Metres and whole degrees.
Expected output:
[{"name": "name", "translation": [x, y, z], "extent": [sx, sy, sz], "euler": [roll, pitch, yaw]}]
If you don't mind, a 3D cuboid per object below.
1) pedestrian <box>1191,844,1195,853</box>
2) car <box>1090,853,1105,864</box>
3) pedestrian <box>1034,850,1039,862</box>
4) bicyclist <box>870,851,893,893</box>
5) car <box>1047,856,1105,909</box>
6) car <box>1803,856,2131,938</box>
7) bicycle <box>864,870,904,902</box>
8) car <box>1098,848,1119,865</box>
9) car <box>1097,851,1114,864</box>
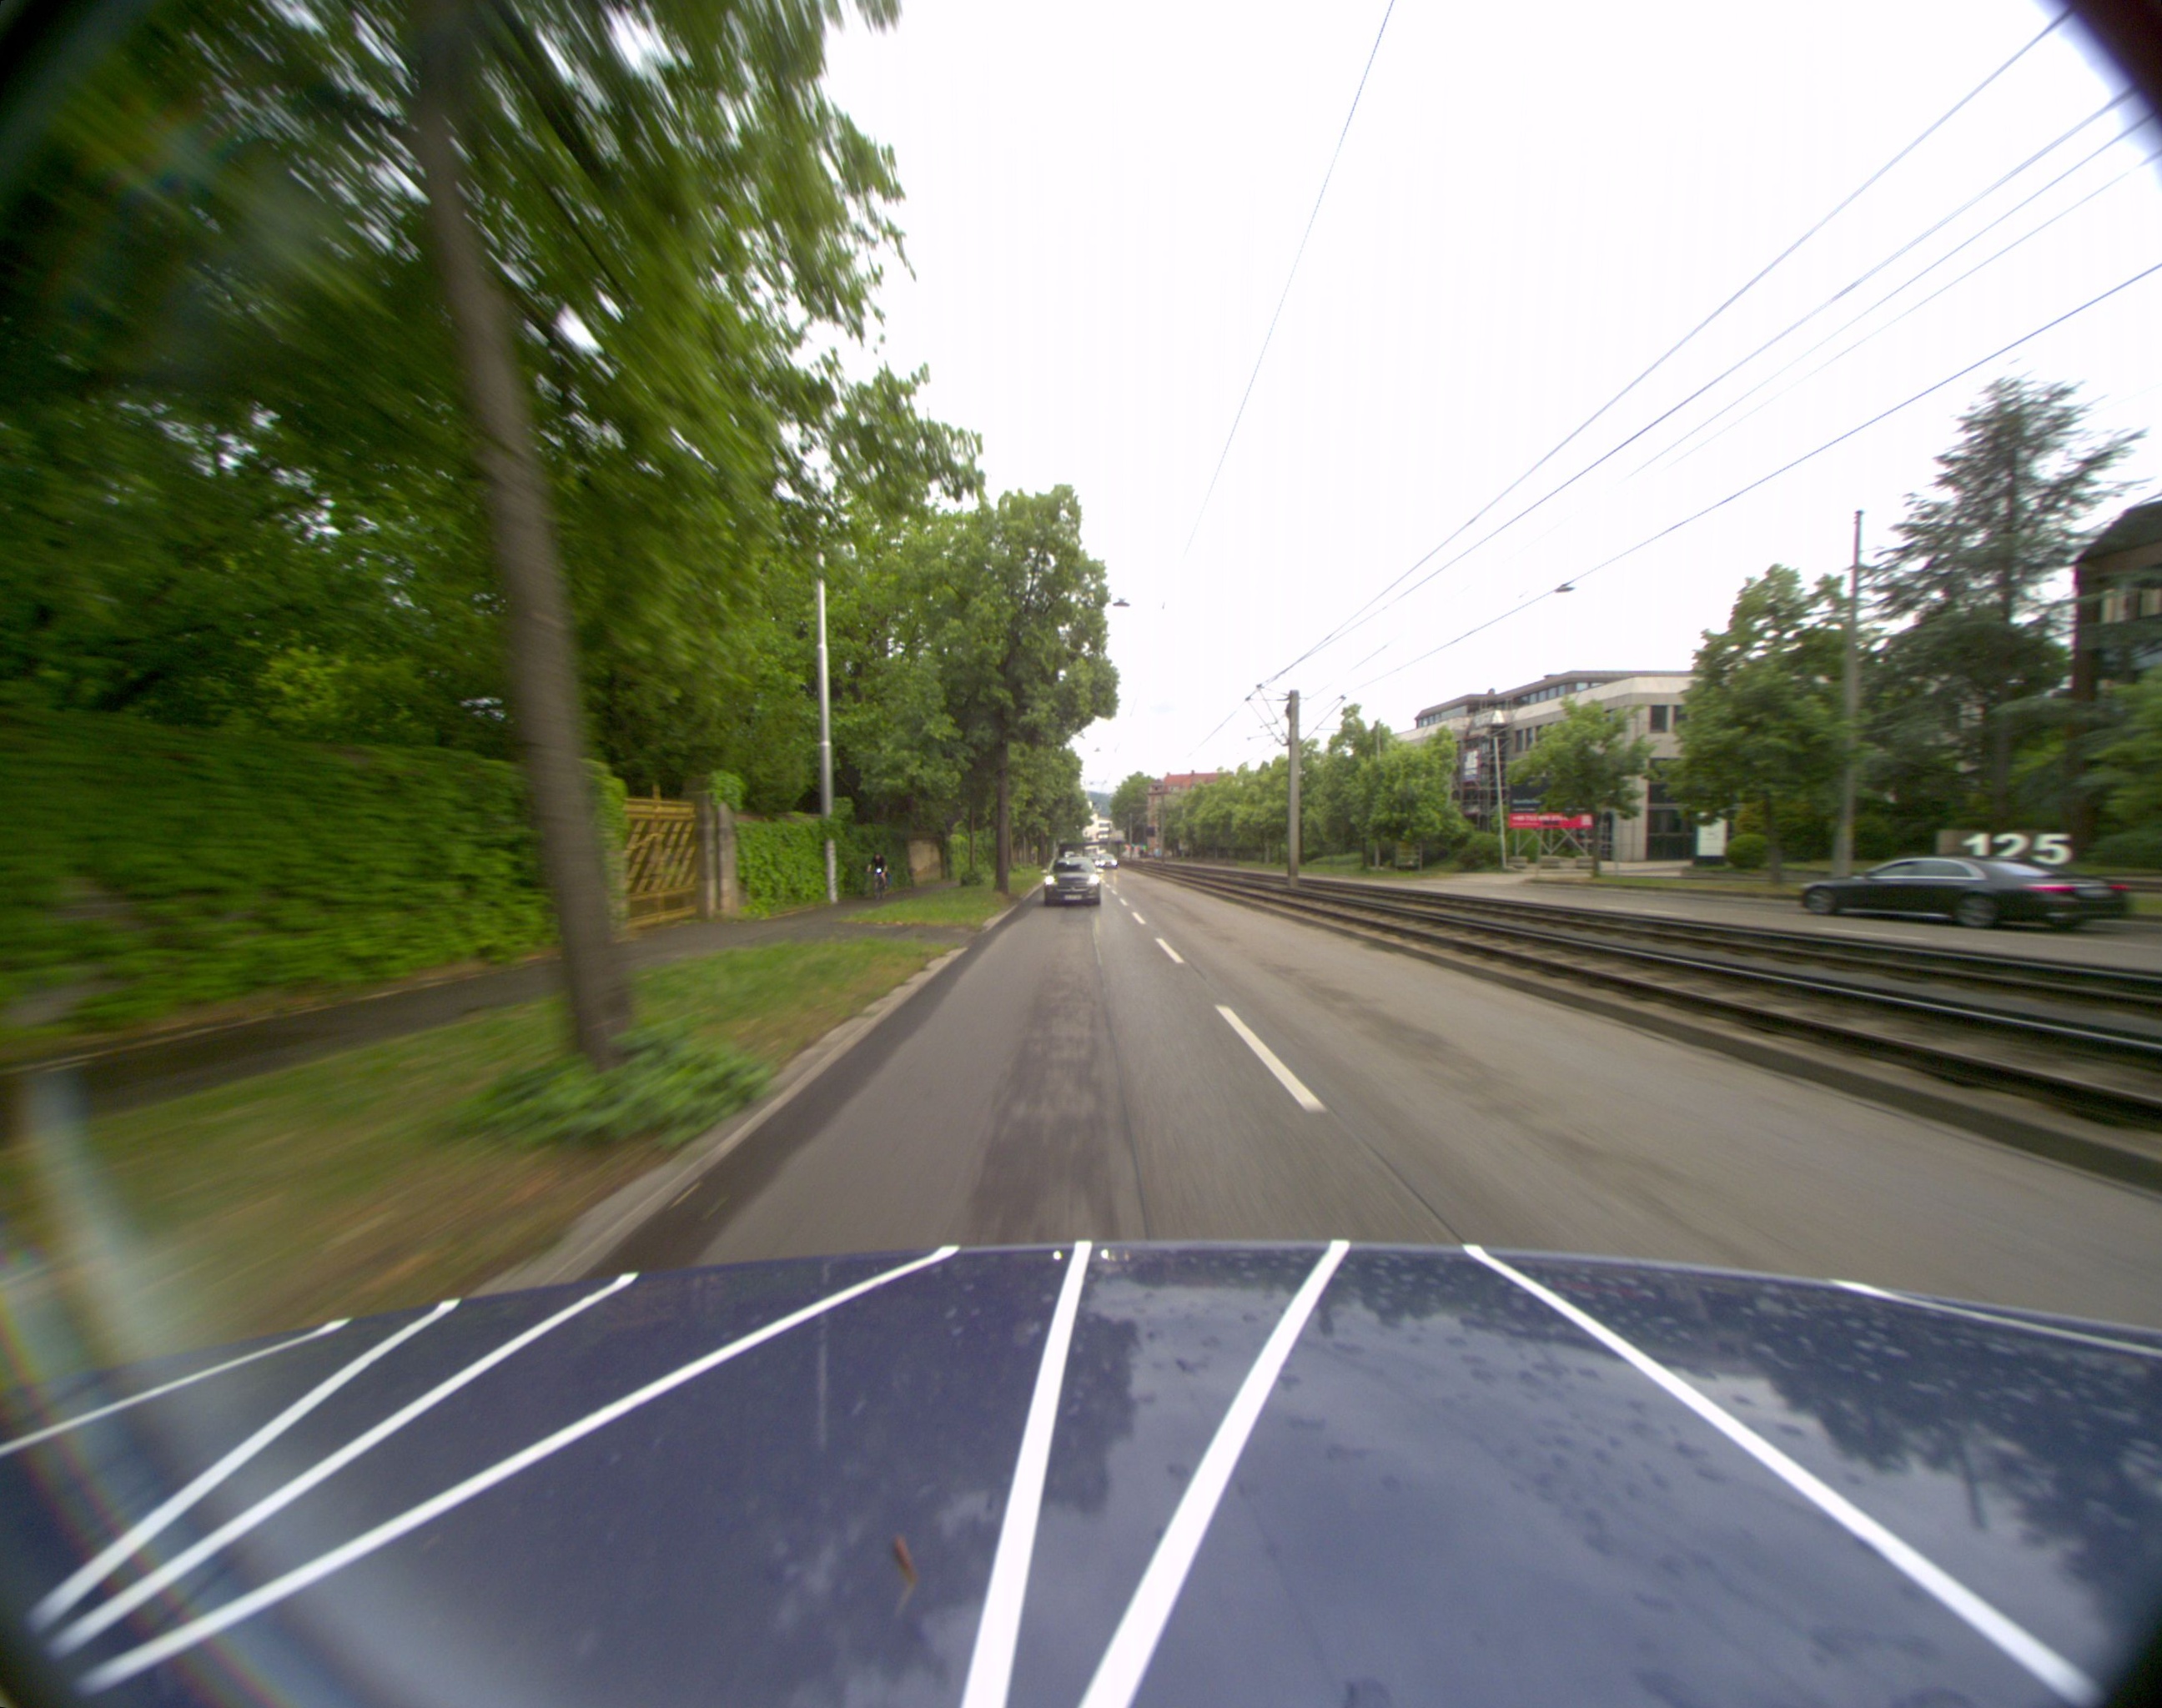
[{"name": "pedestrian", "translation": [22.939, -1.090, 155.642], "extent": [0.597, 1.892, 0.654], "euler": [-2, 1, -4]}, {"name": "car", "translation": [2.697, 0.756, 125.812], "extent": [2.000, 1.801, 3.997], "euler": [-2, 1, -7]}, {"name": "pedestrian", "translation": [-6.622, 0.361, 114.207], "extent": [0.710, 1.769, 0.900], "euler": [-1, 1, -3]}, {"name": "bicyclist", "translation": [-6.626, 0.596, 25.235], "extent": [0.536, 1.381, 0.666], "euler": [0, 1, 3]}, {"name": "car", "translation": [-0.173, 0.814, 23.605], "extent": [1.658, 1.483, 3.829], "euler": [0, 0, -1]}, {"name": "car", "translation": [19.101, 0.827, 16.807], "extent": [1.799, 1.521, 4.621], "euler": [0, 0, -1]}, {"name": "bicycle", "translation": [-6.613, 1.048, 25.582], "extent": [0.544, 0.942, 2.549], "euler": [0, 1, 3]}, {"name": "car", "translation": [2.576, 0.202, 71.893], "extent": [1.807, 1.483, 4.102], "euler": [-1, 1, -1]}, {"name": "car", "translation": [2.757, 0.395, 87.227], "extent": [1.807, 1.483, 4.102], "euler": [0, 0, -1]}]
